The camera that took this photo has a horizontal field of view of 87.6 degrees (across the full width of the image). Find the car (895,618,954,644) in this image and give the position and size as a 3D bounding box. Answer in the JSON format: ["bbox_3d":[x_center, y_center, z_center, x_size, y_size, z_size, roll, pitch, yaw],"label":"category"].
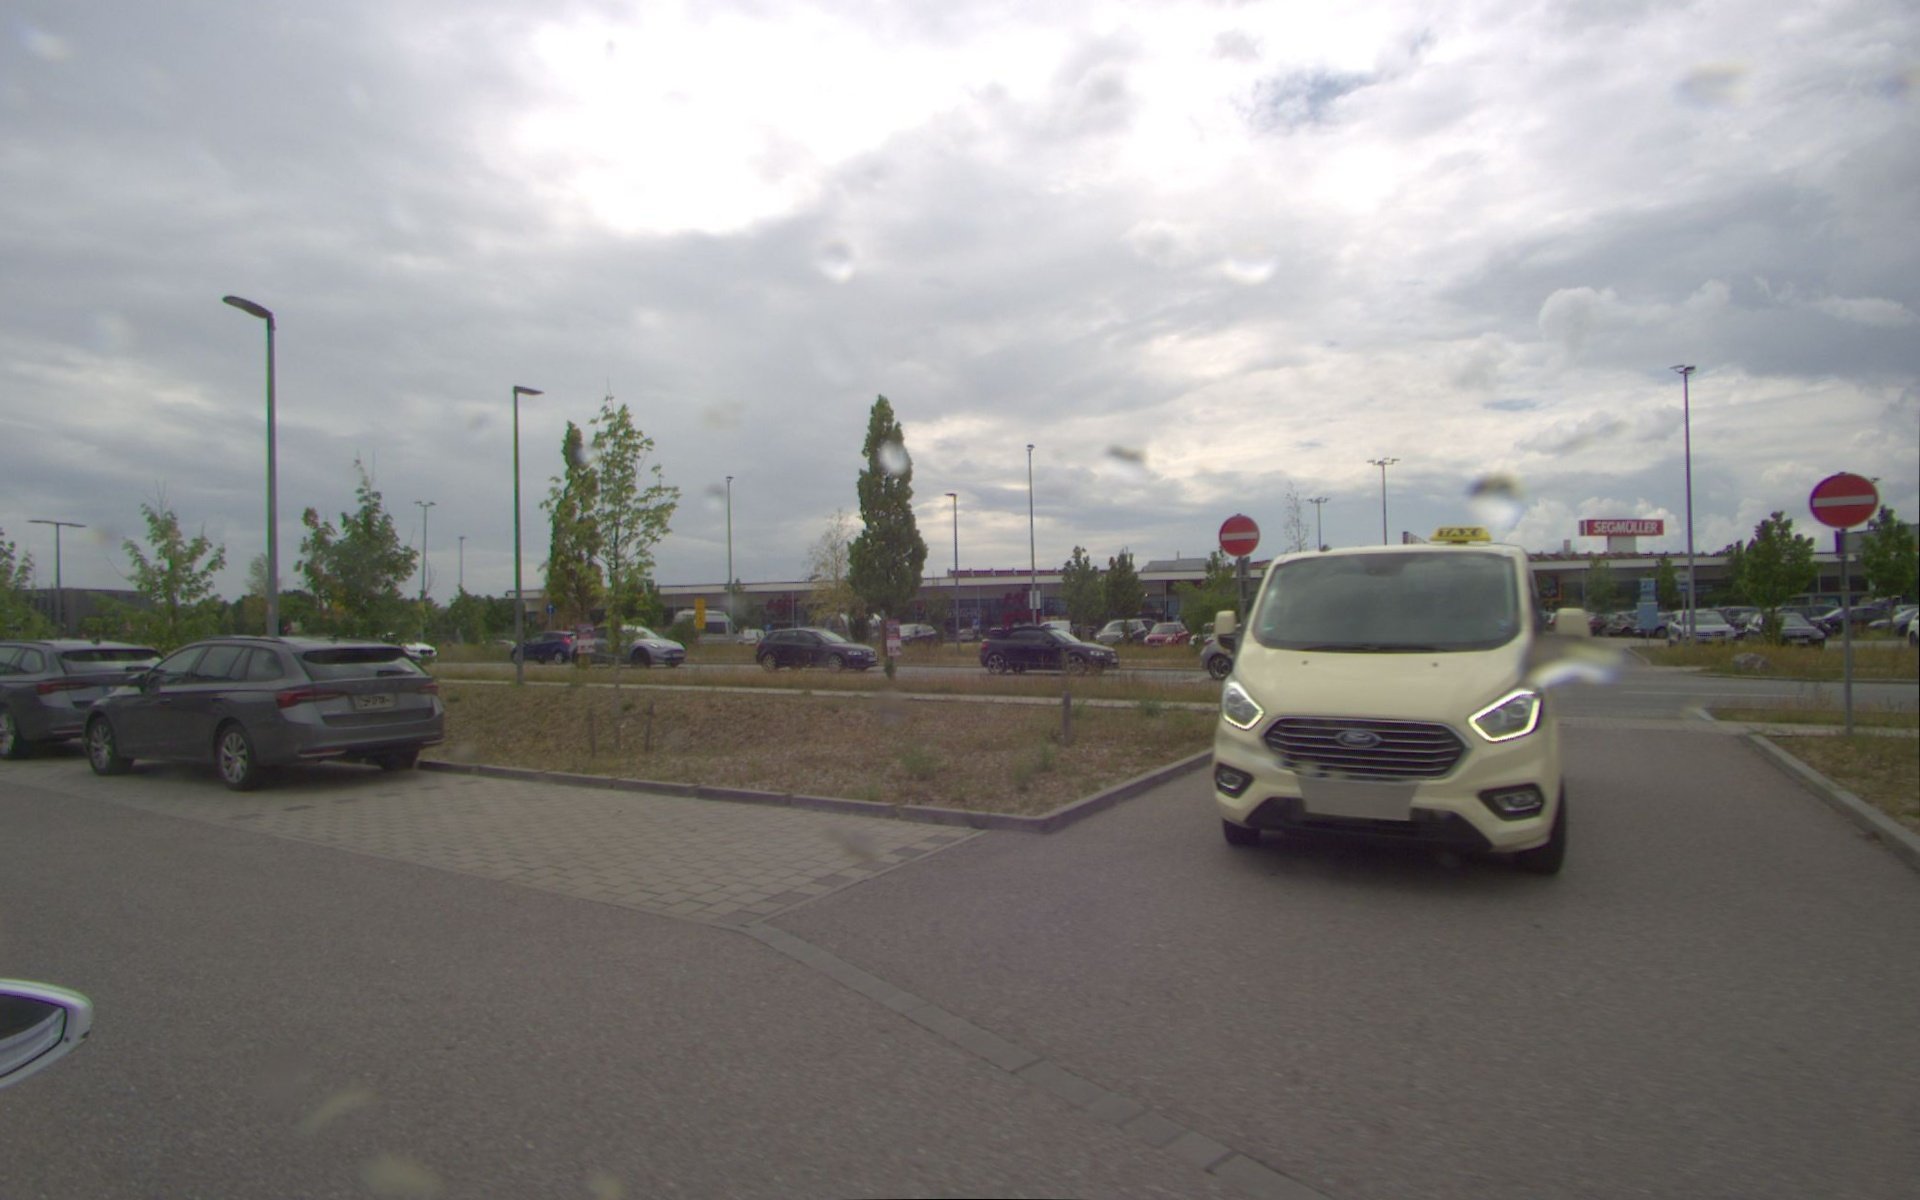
[{"bbox_3d":[-2.673,2.379,76.321,4.107,1.862,1.999,-1,0,10],"label":"car"}]

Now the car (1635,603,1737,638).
[{"bbox_3d":[40.174,1.143,55.504,4.108,1.862,1.998,-1,0,13],"label":"car"}]

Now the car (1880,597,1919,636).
[{"bbox_3d":[46.513,0.737,47.152,4.239,1.795,1.999,-1,0,11],"label":"car"}]

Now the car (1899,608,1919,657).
[{"bbox_3d":[36.245,1.210,35.888,1.963,1.795,4.315,-1,0,15],"label":"car"}]

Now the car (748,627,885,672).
[{"bbox_3d":[-4.714,1.602,32.814,4.150,1.413,1.763,-1,-1,25],"label":"car"}]

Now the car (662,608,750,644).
[{"bbox_3d":[-16.222,1.640,64.254,2.305,2.150,5.571,-1,0,29],"label":"car"}]

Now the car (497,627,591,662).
[{"bbox_3d":[-18.632,1.972,44.845,3.856,1.479,1.655,-1,0,24],"label":"car"}]

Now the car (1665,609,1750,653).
[{"bbox_3d":[29.415,1.193,39.514,1.742,1.560,4.043,-1,0,23],"label":"car"}]

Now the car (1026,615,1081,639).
[{"bbox_3d":[7.496,2.181,80.329,4.109,1.862,1.998,-1,0,14],"label":"car"}]

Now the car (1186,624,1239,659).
[{"bbox_3d":[12.524,2.021,49.494,1.834,1.521,4.061,-1,0,24],"label":"car"}]

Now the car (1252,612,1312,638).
[{"bbox_3d":[24.100,1.833,74.985,4.108,1.862,1.998,-1,0,13],"label":"car"}]

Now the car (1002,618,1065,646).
[{"bbox_3d":[5.128,2.201,69.388,4.108,1.862,1.998,-1,0,13],"label":"car"}]

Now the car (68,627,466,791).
[{"bbox_3d":[-7.601,1.060,10.909,4.407,1.488,1.751,-1,-2,28],"label":"car"}]

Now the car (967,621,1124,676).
[{"bbox_3d":[2.494,1.387,29.427,4.218,1.518,1.849,-1,-1,28],"label":"car"}]

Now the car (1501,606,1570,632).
[{"bbox_3d":[42.986,1.445,74.871,4.108,1.862,1.998,-1,0,13],"label":"car"}]

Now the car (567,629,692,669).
[{"bbox_3d":[-12.450,1.824,37.663,4.484,1.413,1.763,-1,-1,25],"label":"car"}]

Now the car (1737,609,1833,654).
[{"bbox_3d":[31.278,1.151,38.092,1.742,1.560,4.043,-1,0,23],"label":"car"}]

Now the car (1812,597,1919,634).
[{"bbox_3d":[47.689,0.797,52.412,4.240,1.795,1.998,-1,0,12],"label":"car"}]

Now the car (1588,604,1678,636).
[{"bbox_3d":[41.340,1.230,61.596,4.108,1.862,1.998,-1,0,13],"label":"car"}]

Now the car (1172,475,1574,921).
[{"bbox_3d":[3.366,0.505,7.504,1.970,2.113,5.206,0,-1,30],"label":"car"}]

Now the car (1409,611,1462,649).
[{"bbox_3d":[21.145,1.317,44.633,1.742,1.560,3.755,-1,0,20],"label":"car"}]

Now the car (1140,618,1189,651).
[{"bbox_3d":[10.481,1.729,51.071,1.875,1.560,4.045,-1,0,20],"label":"car"}]

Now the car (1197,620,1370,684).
[{"bbox_3d":[8.314,1.299,25.787,3.941,1.479,1.821,-1,0,30],"label":"car"}]

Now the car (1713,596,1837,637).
[{"bbox_3d":[38.843,0.791,47.820,4.108,1.862,1.998,-1,0,13],"label":"car"}]

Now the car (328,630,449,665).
[{"bbox_3d":[-24.567,2.033,43.085,4.472,1.413,1.768,-1,-1,11],"label":"car"}]

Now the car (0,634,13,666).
[{"bbox_3d":[-45.947,2.302,45.627,4.471,1.413,1.768,-1,-1,10],"label":"car"}]

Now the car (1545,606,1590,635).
[{"bbox_3d":[35.084,1.178,57.894,1.969,1.560,4.142,-1,0,28],"label":"car"}]

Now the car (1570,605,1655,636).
[{"bbox_3d":[41.733,1.310,64.110,4.108,1.862,1.998,-1,0,13],"label":"car"}]

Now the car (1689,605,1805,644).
[{"bbox_3d":[39.473,1.222,50.304,4.108,1.862,1.998,-1,0,13],"label":"car"}]

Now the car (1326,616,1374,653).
[{"bbox_3d":[18.049,1.588,46.465,1.965,1.560,4.045,-1,0,20],"label":"car"}]

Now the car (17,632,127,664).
[{"bbox_3d":[-46.969,2.529,53.020,4.335,1.506,1.930,-1,0,6],"label":"car"}]

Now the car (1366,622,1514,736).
[{"bbox_3d":[6.586,0.979,13.593,1.445,1.354,3.147,-1,-1,32],"label":"car"}]

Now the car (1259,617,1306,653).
[{"bbox_3d":[15.427,1.644,47.752,1.965,1.560,4.045,-1,0,20],"label":"car"}]

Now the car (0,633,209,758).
[{"bbox_3d":[-12.473,1.204,13.632,4.404,1.488,1.752,-1,-2,25],"label":"car"}]
